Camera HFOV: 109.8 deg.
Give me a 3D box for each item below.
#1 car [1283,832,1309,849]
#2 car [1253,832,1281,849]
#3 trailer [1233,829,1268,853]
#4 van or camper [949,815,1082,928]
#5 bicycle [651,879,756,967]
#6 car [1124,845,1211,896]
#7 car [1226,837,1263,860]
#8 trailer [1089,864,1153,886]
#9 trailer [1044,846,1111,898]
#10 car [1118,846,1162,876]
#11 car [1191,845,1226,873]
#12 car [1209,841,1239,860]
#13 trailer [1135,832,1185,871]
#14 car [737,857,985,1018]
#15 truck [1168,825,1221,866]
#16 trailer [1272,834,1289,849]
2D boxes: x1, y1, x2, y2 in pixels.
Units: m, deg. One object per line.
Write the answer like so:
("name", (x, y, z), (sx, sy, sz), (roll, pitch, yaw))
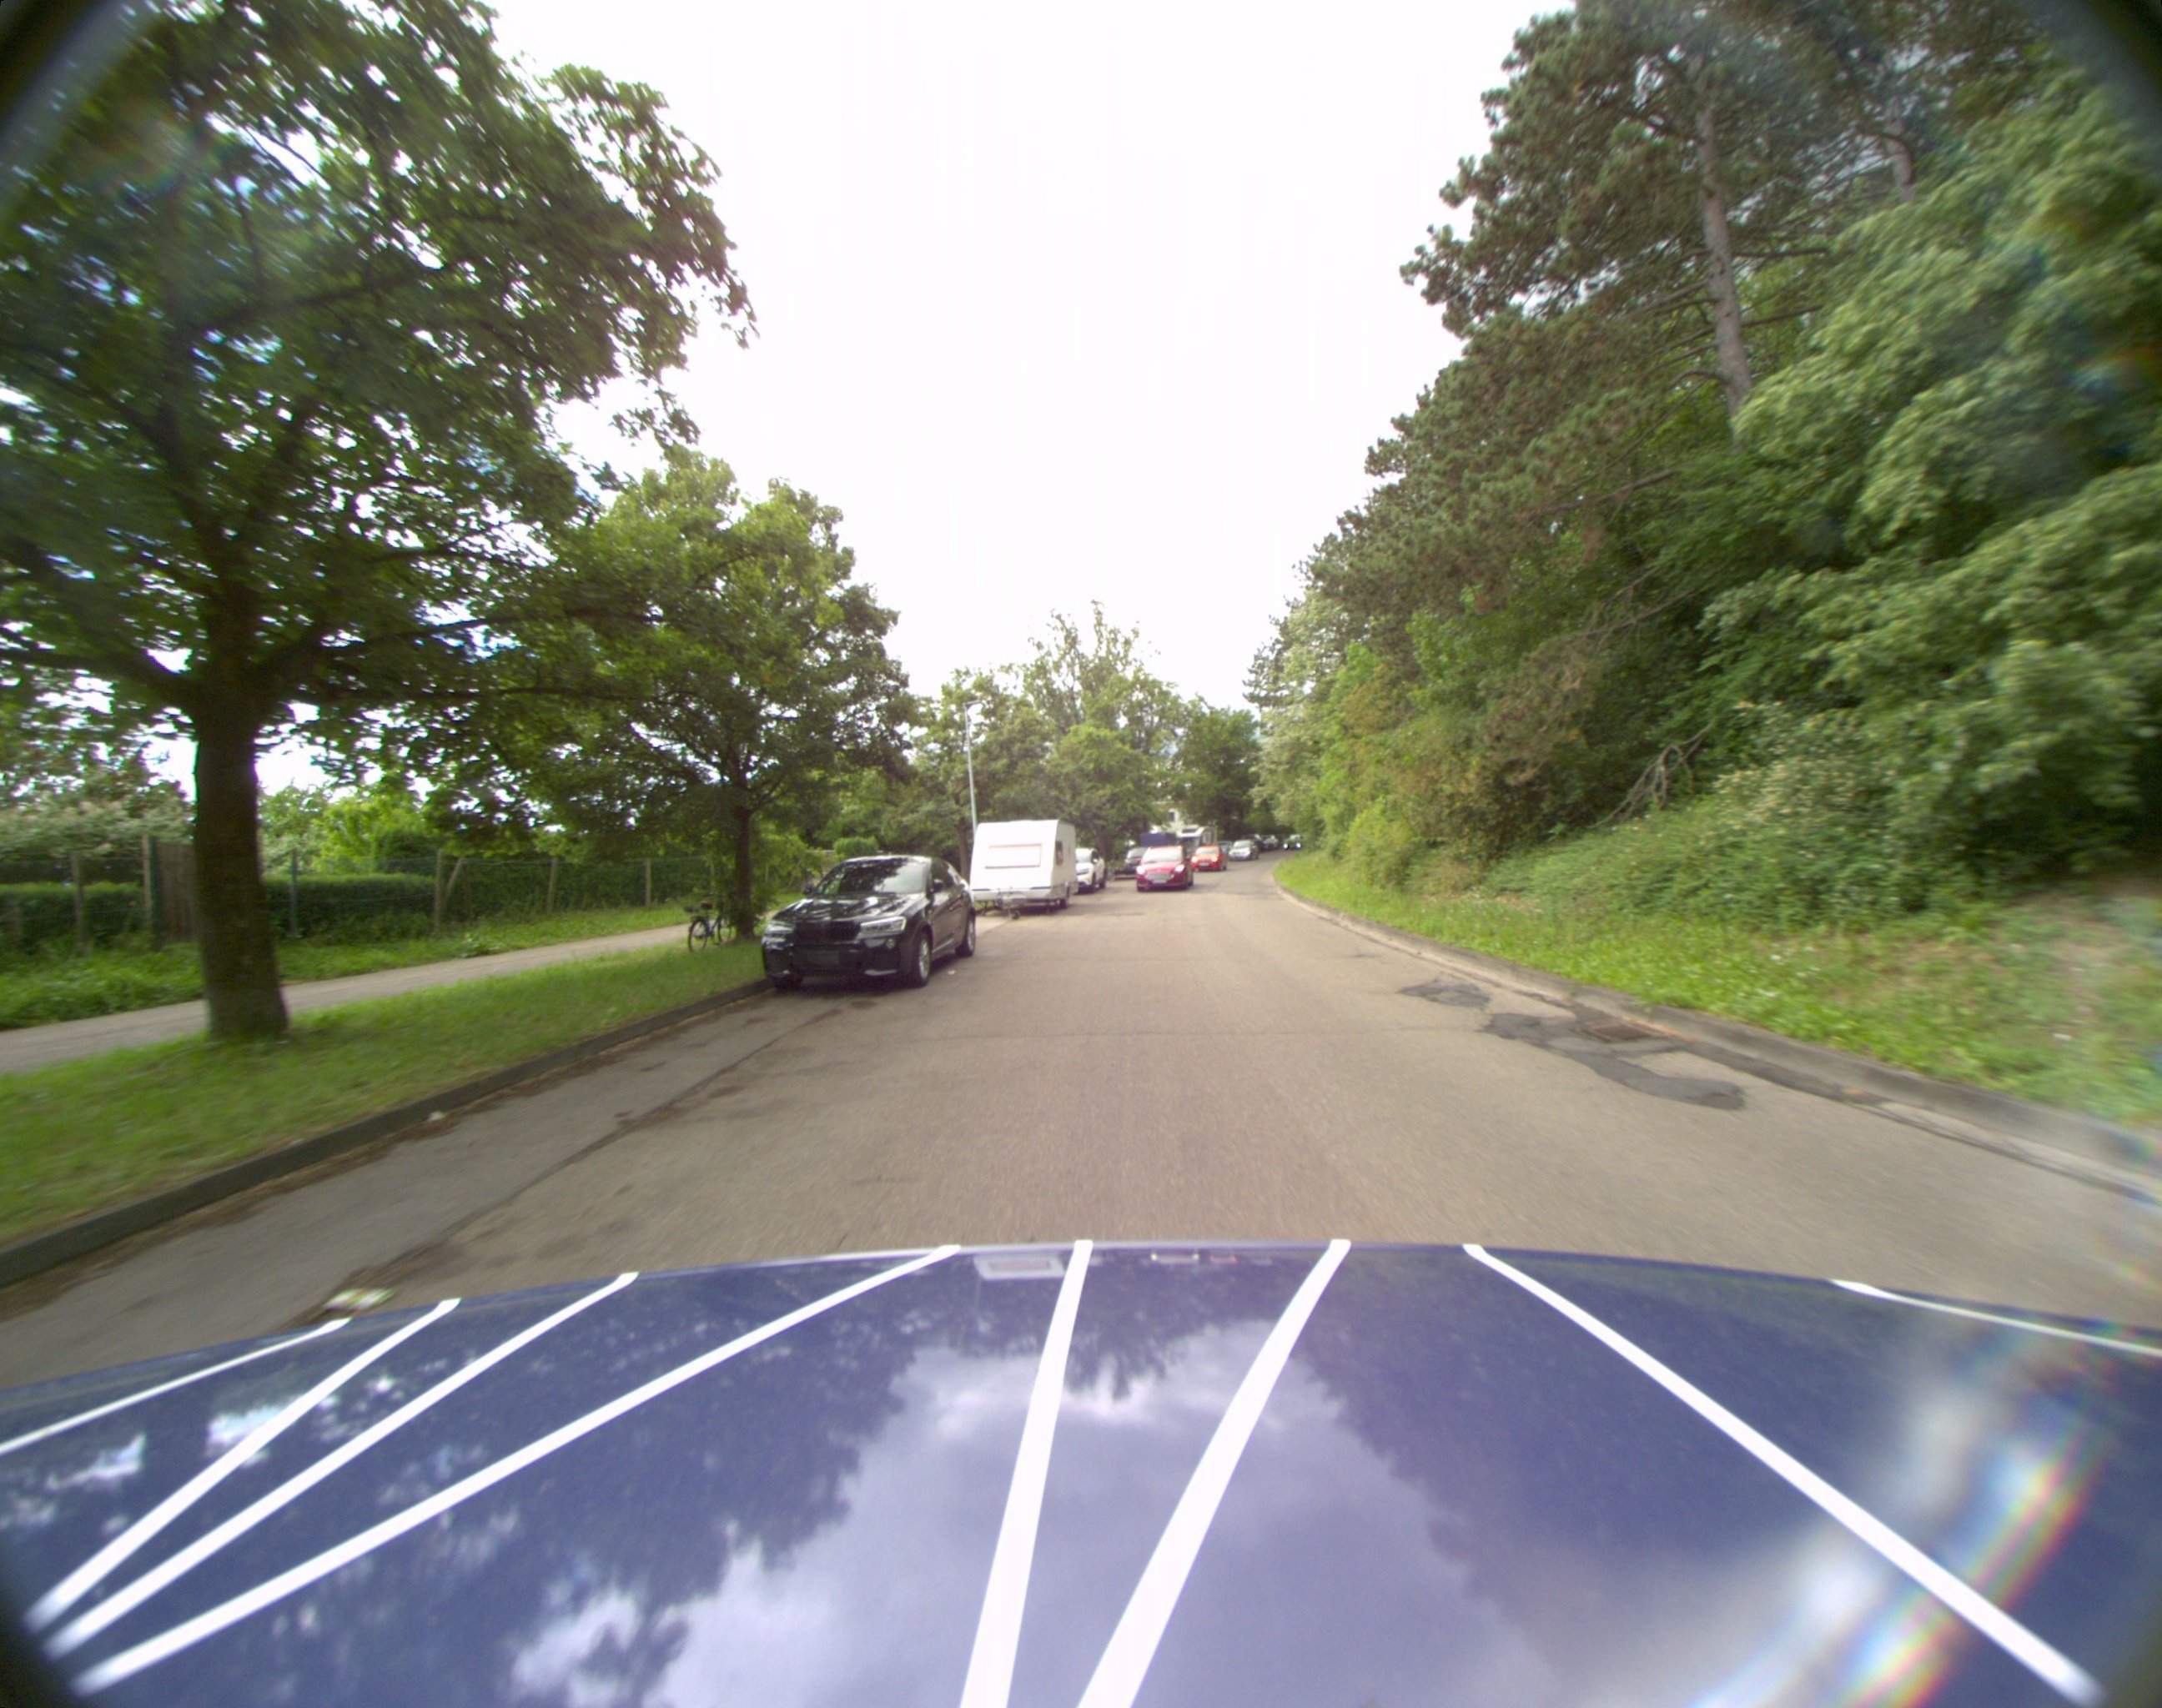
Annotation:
("car", (22.623, -1.464, 79.848), (1.765, 1.509, 4.005), (-3, 2, 27))
("car", (20.065, -1.490, 81.845), (1.842, 1.675, 4.608), (-2, 1, 26))
("trailer", (17.134, -1.347, 76.688), (1.995, 1.922, 5.900), (-3, 3, 26))
("van or camper", (-1.532, 0.356, 20.725), (2.165, 2.522, 6.034), (-3, 1, 8))
("bicycle", (-6.445, 1.132, 13.137), (0.535, 1.209, 2.184), (-4, 3, 3))
("car", (3.432, 0.561, 29.178), (1.995, 1.619, 4.632), (-3, 1, 23))
("car", (13.179, -0.492, 61.025), (1.919, 1.672, 4.006), (-1, 3, 27))
("trailer", (2.123, 1.009, 38.012), (2.107, 0.647, 6.406), (-3, 1, 13))
("trailer", (-0.028, 0.632, 29.808), (1.775, 1.721, 4.652), (-1, 2, 10))
("car", (3.429, 0.378, 43.689), (1.731, 1.513, 3.409), (-3, 0, 18))
("car", (7.490, 0.251, 44.322), (1.865, 1.440, 4.178), (-2, 1, 11))
("car", (12.927, -0.322, 68.645), (1.697, 1.538, 3.773), (-3, 1, 25))
("trailer", (5.089, -0.149, 48.377), (2.109, 2.348, 4.708), (-1, 0, 20))
("car", (-2.696, 0.926, 10.570), (1.852, 1.633, 4.531), (-2, 0, 3))
("truck", (8.859, -0.711, 58.687), (2.306, 2.916, 7.042), (-2, 1, 22))
("trailer", (23.124, -1.474, 88.078), (1.375, 1.595, 2.270), (-3, 1, 26))
